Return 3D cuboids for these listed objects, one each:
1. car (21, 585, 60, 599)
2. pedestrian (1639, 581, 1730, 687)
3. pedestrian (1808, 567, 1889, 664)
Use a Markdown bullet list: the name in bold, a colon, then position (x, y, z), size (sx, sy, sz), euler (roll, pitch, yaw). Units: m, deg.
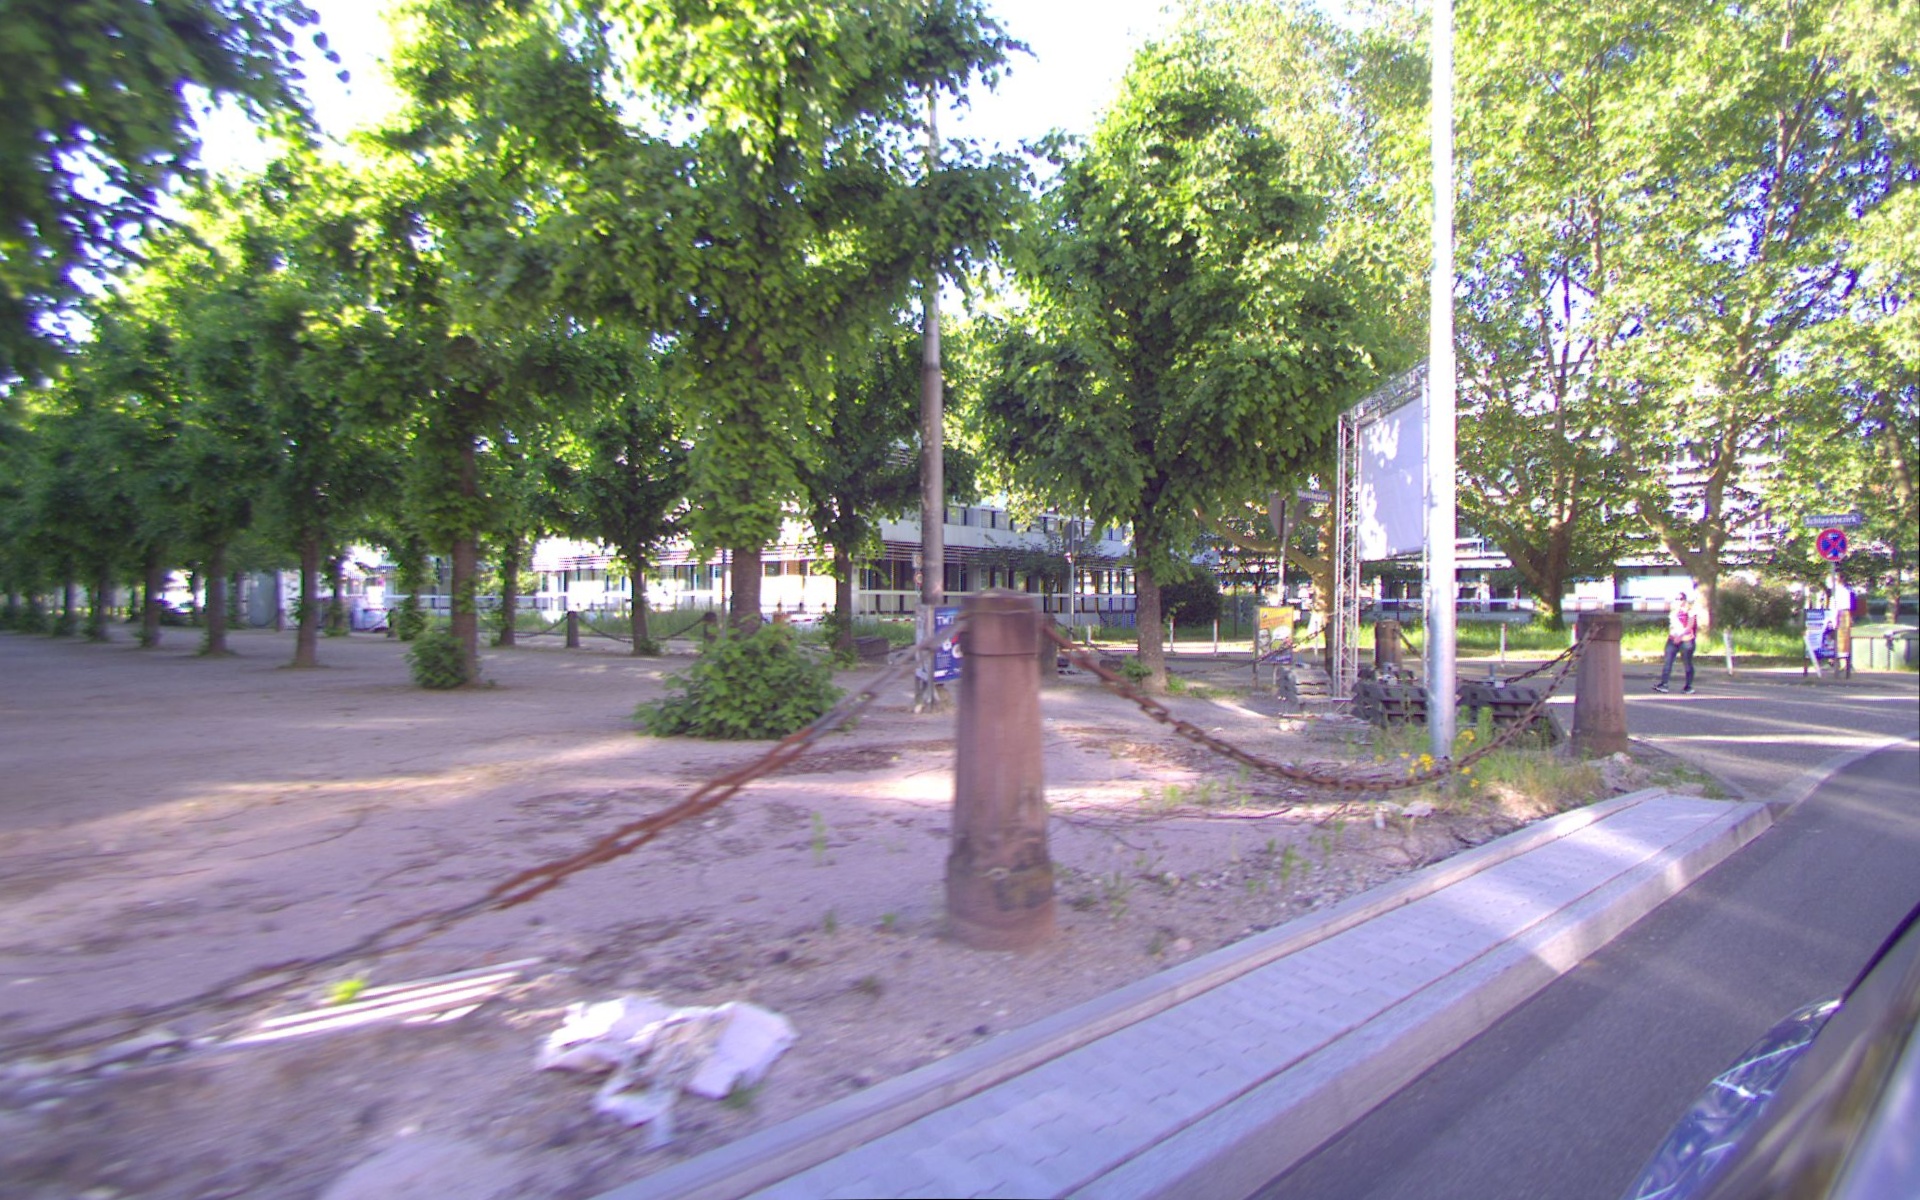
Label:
- **car**: position (-132.801, -1.149, 146.173), size (1.994, 2.039, 3.936), euler (0, -1, 44)
- **pedestrian**: position (11.558, 0.534, 16.169), size (0.923, 1.644, 0.708), euler (0, -1, 9)
- **pedestrian**: position (17.403, 0.308, 19.858), size (1.127, 1.836, 0.737), euler (0, -2, 38)
